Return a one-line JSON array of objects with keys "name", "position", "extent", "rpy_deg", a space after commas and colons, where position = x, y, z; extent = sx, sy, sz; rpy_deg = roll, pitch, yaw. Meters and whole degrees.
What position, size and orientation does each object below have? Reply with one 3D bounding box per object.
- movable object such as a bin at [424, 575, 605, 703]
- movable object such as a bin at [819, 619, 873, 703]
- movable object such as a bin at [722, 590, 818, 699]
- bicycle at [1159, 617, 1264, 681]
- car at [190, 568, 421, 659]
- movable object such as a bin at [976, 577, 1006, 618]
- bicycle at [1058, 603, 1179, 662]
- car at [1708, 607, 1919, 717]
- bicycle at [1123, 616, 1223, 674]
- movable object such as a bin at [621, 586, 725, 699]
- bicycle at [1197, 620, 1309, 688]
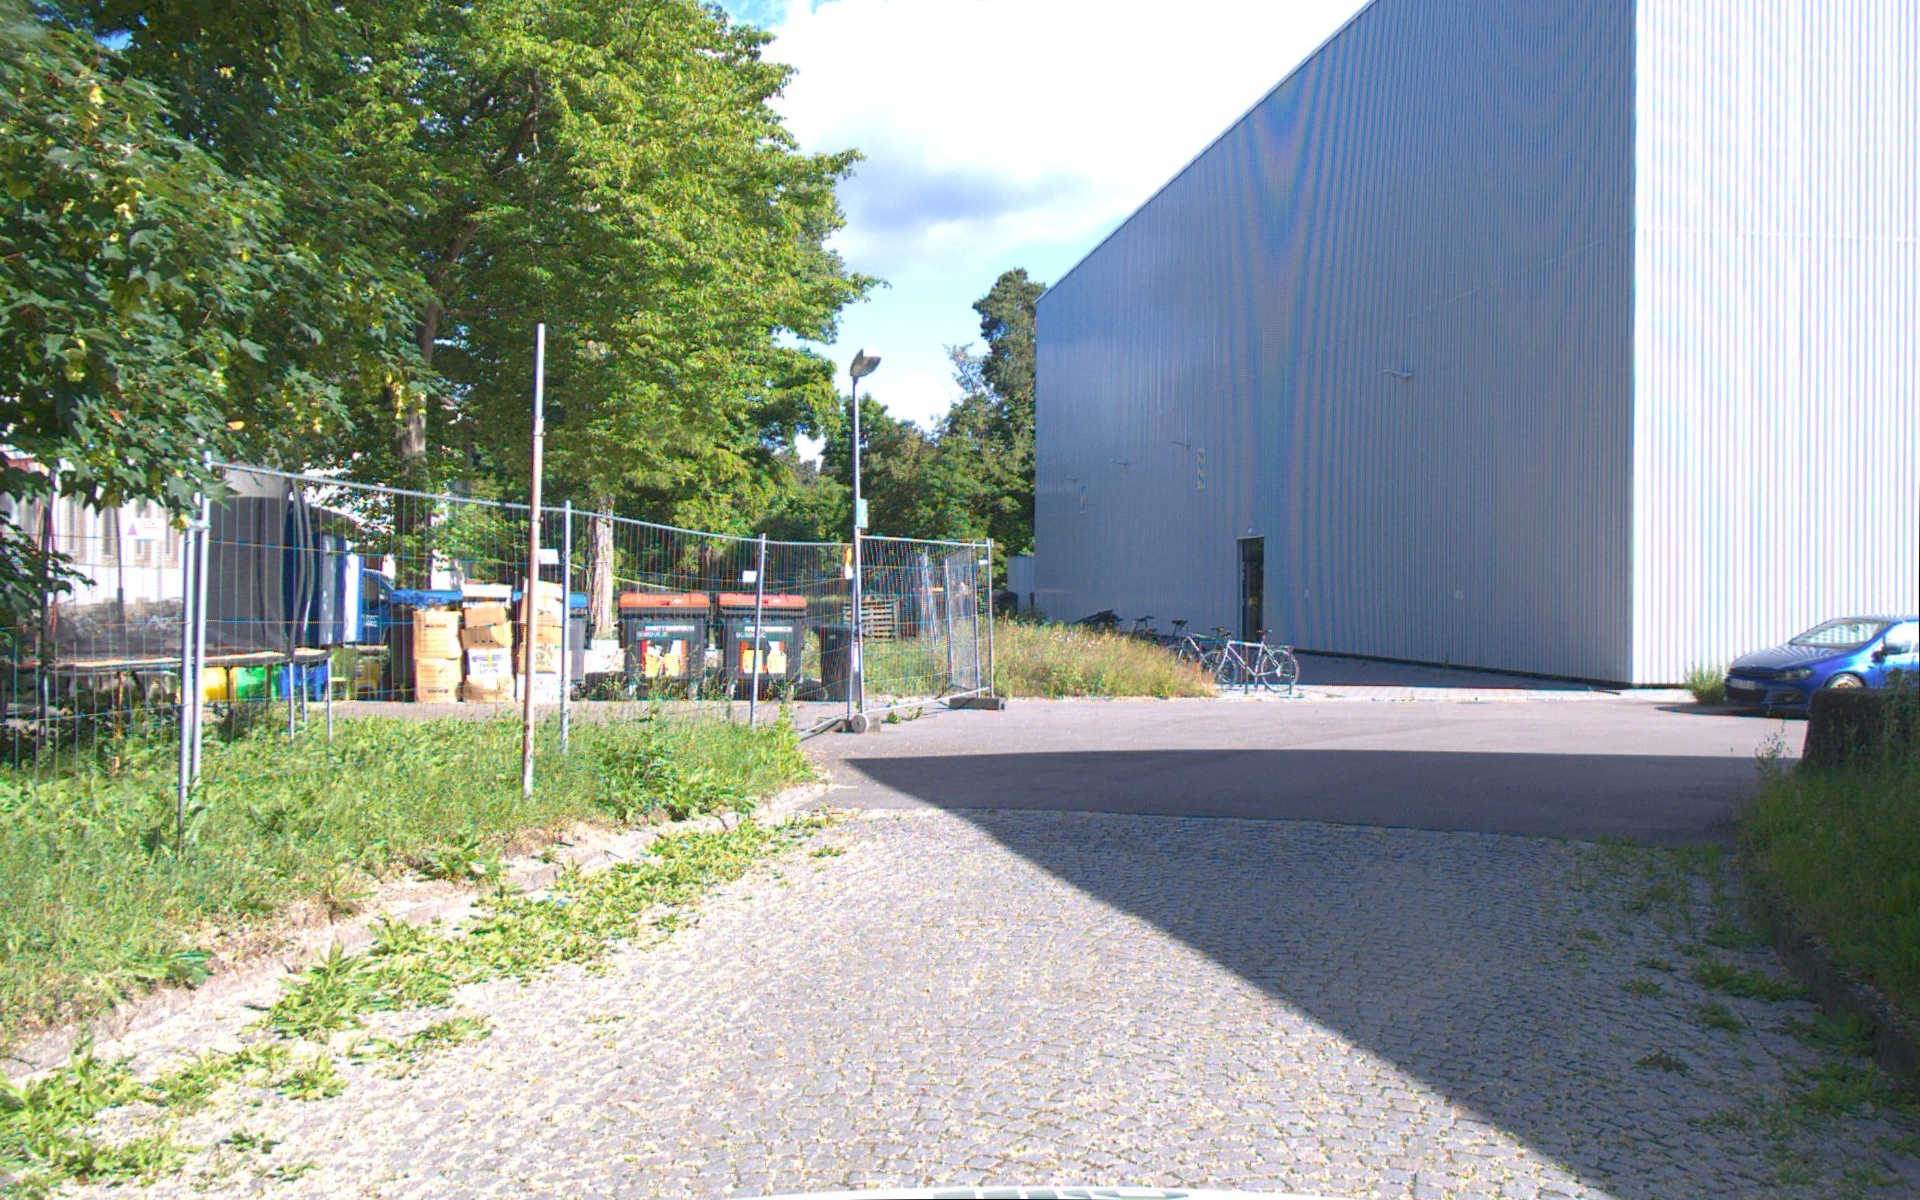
[{"name": "movable object such as a bin", "position": [-5.875, 0.499, 21.903], "extent": [2.250, 1.619, 1.170], "rpy_deg": [0, 0, -15]}, {"name": "movable object such as a bin", "position": [-1.583, 0.831, 22.816], "extent": [0.722, 1.116, 0.818], "rpy_deg": [0, 0, -5]}, {"name": "movable object such as a bin", "position": [-2.624, 0.600, 22.780], "extent": [1.224, 1.470, 0.700], "rpy_deg": [0, 0, -15]}, {"name": "bicycle", "position": [4.457, 0.866, 29.348], "extent": [1.758, 1.101, 0.524], "rpy_deg": [0, 0, -8]}, {"name": "car", "position": [-14.852, 0.292, 37.793], "extent": [4.629, 1.935, 1.993], "rpy_deg": [-1, 0, -14]}, {"name": "movable object such as a bin", "position": [1.574, -0.136, 83.581], "extent": [1.391, 2.049, 1.124], "rpy_deg": [0, 0, -5]}, {"name": "bicycle", "position": [3.571, 0.727, 37.472], "extent": [2.579, 1.288, 1.139], "rpy_deg": [0, 0, -5]}, {"name": "car", "position": [12.490, 0.813, 22.601], "extent": [3.869, 1.373, 1.670], "rpy_deg": [0, 2, -10]}, {"name": "bicycle", "position": [4.097, 0.858, 31.870], "extent": [1.853, 1.114, 0.524], "rpy_deg": [0, -1, -11]}, {"name": "movable object such as a bin", "position": [-3.915, 0.566, 22.528], "extent": [1.315, 1.510, 0.803], "rpy_deg": [0, 0, -16]}, {"name": "bicycle", "position": [4.750, 0.872, 26.796], "extent": [1.769, 1.080, 0.457], "rpy_deg": [0, 0, -14]}]
